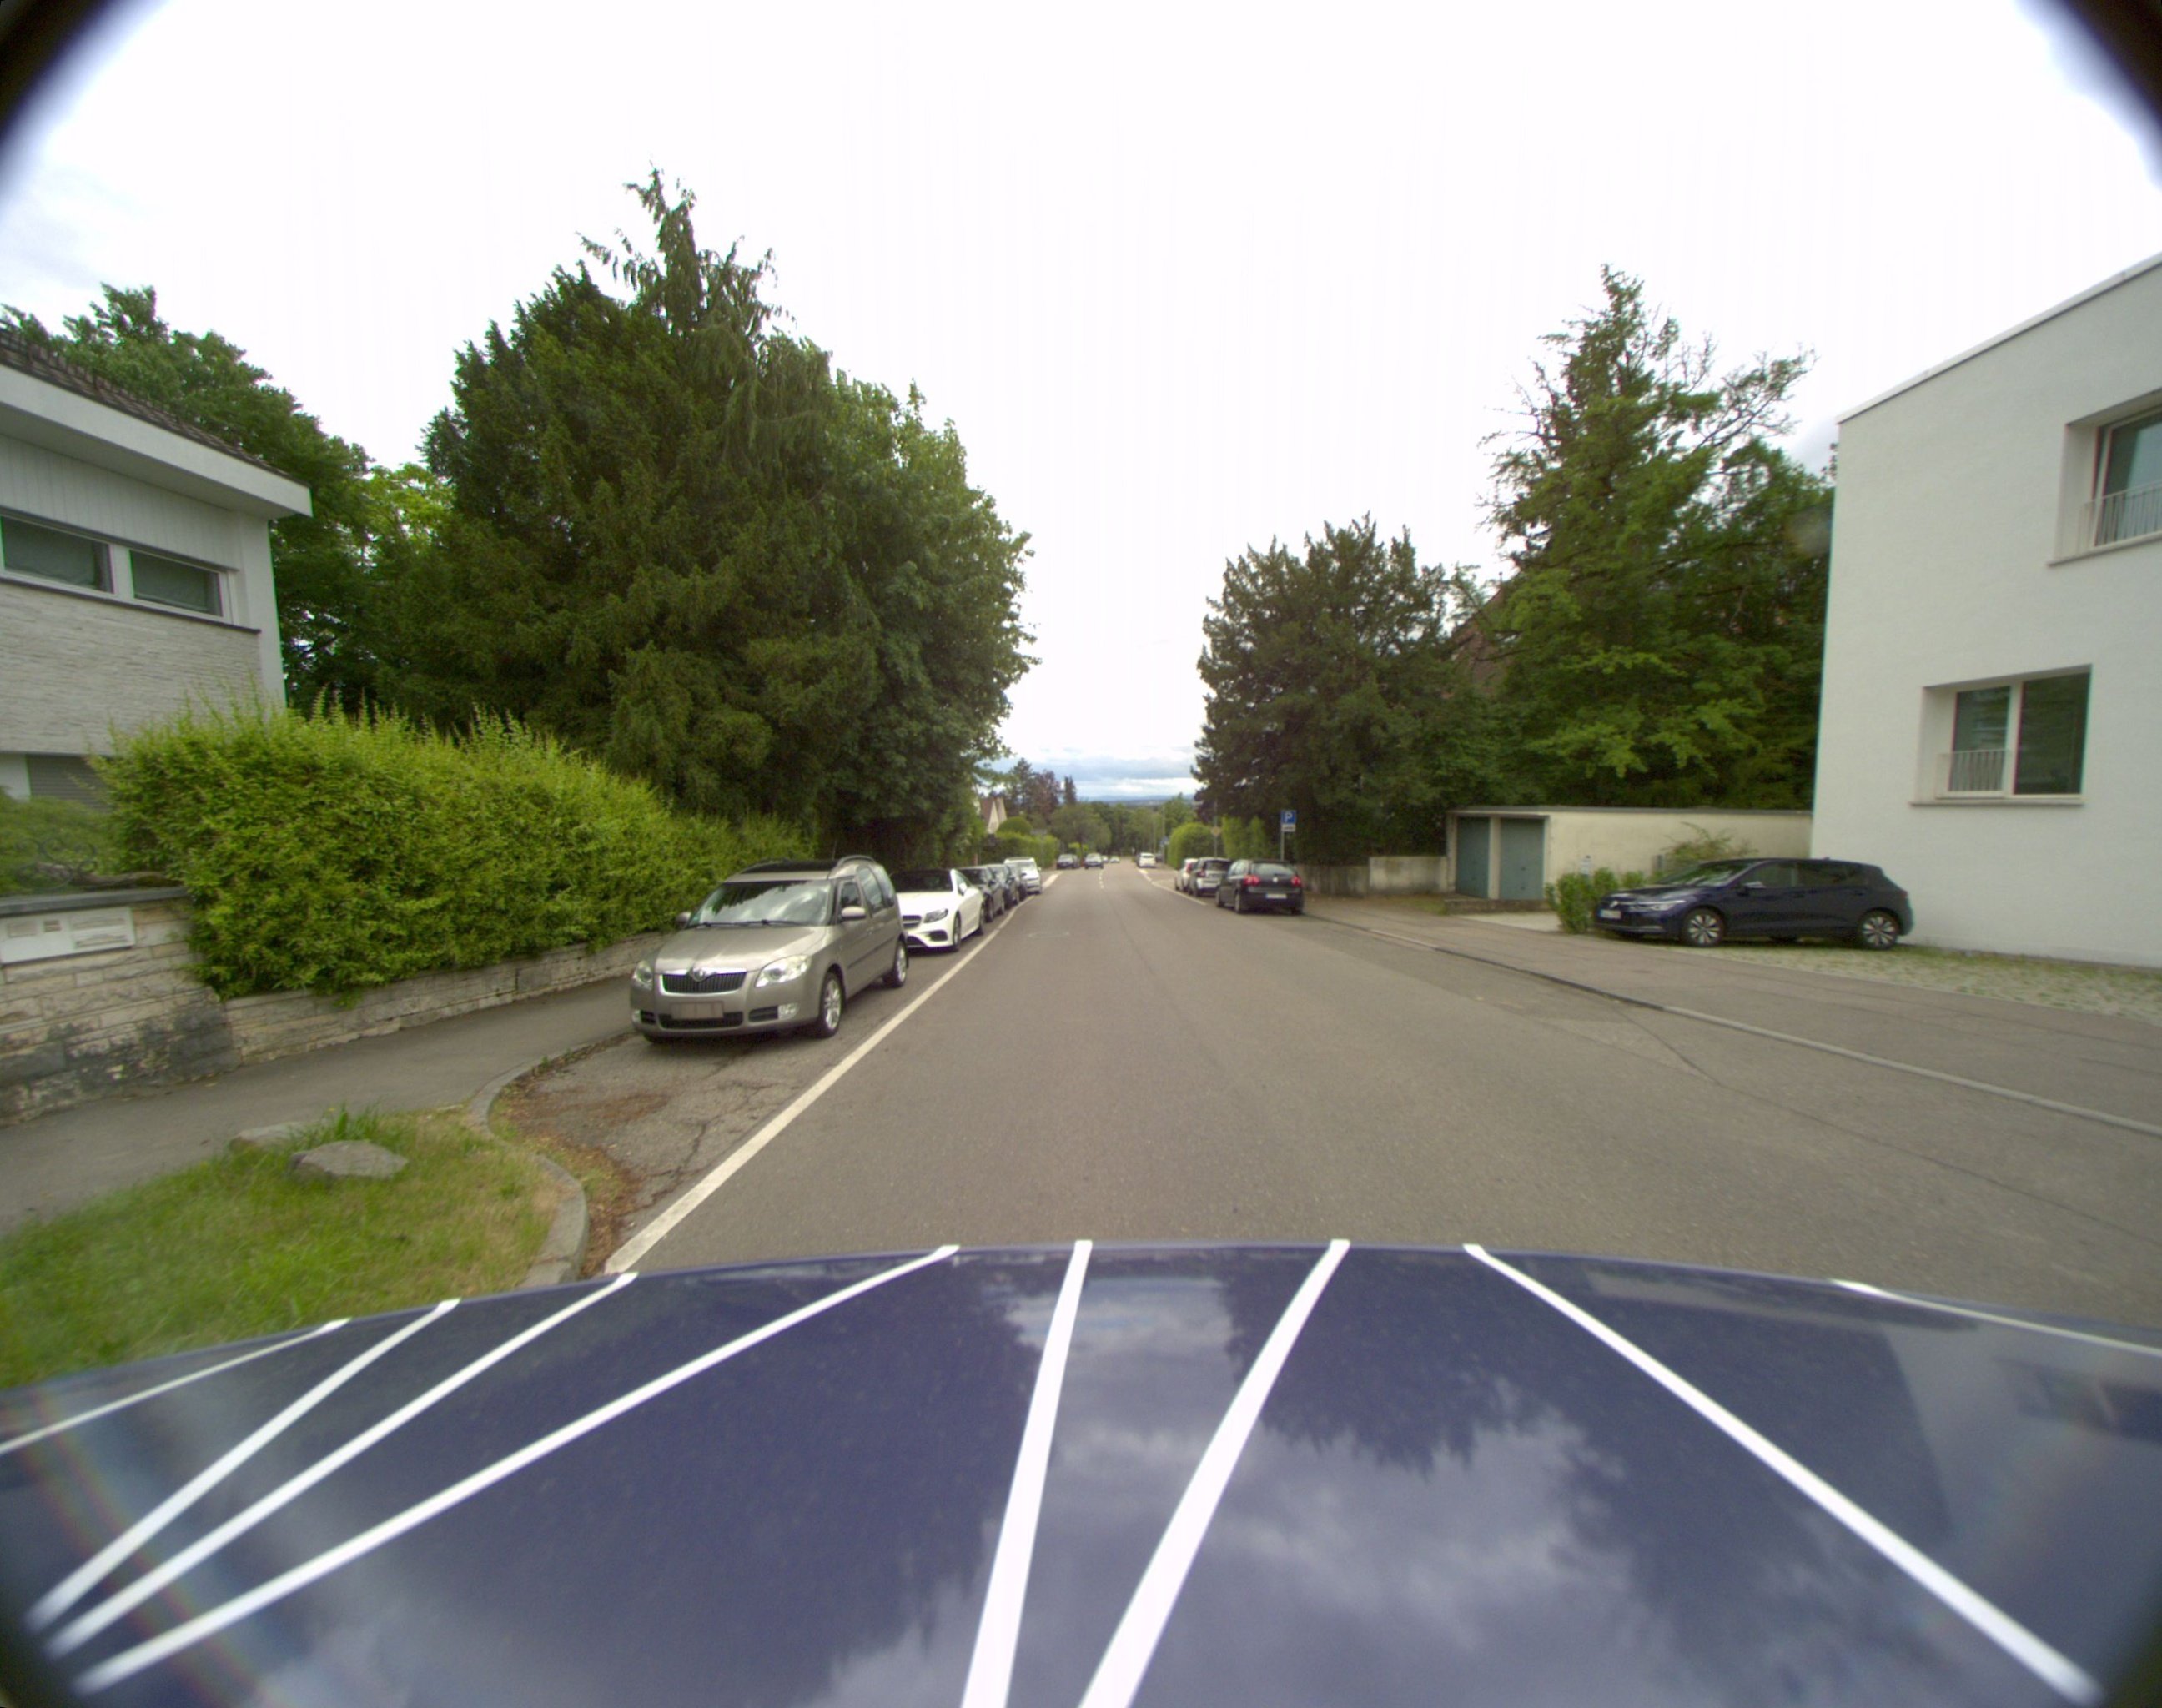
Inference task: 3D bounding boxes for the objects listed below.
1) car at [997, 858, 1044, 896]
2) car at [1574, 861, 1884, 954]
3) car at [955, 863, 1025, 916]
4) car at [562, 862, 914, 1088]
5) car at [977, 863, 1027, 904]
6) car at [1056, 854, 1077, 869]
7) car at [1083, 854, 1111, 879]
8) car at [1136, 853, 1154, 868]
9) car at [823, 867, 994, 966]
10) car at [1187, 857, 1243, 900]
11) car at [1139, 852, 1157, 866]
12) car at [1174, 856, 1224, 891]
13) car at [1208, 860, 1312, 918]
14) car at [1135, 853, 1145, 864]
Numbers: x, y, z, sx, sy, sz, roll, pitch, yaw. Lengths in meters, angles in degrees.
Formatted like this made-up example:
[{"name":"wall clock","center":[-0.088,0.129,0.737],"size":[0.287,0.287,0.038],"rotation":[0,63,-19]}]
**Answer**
[{"name":"car","center":[-2.740,0.982,34.871],"size":[2.006,1.599,4.756],"rotation":[0,0,-4]},{"name":"car","center":[10.616,0.826,12.612],"size":[3.805,1.346,1.741],"rotation":[-1,0,-5]},{"name":"car","center":[-2.933,1.109,25.223],"size":[1.702,1.499,4.160],"rotation":[-3,0,1]},{"name":"car","center":[-3.072,0.952,7.813],"size":[1.721,1.623,3.928],"rotation":[-2,0,1]},{"name":"car","center":[-3.059,1.125,30.199],"size":[1.815,1.444,4.376],"rotation":[0,0,-4]},{"name":"car","center":[-1.421,0.725,77.539],"size":[1.794,1.480,4.380],"rotation":[0,0,4]},{"name":"car","center":[1.642,1.199,74.911],"size":[1.998,2.002,4.001],"rotation":[-11,1,8]},{"name":"car","center":[7.022,0.673,83.574],"size":[1.786,1.481,4.740],"rotation":[3,1,4]},{"name":"car","center":[-3.005,1.031,14.442],"size":[1.998,1.483,5.005],"rotation":[0,0,1]},{"name":"car","center":[5.190,0.918,29.790],"size":[1.628,1.510,2.975],"rotation":[-1,1,0]},{"name":"car","center":[6.901,0.524,78.398],"size":[1.693,1.411,3.580],"rotation":[2,0,4]},{"name":"car","center":[5.191,0.853,33.760],"size":[1.749,1.439,3.514],"rotation":[1,0,2]},{"name":"car","center":[5.014,0.922,21.944],"size":[1.855,1.461,4.682],"rotation":[0,0,-1]},{"name":"car","center":[11.978,0.906,154.496],"size":[1.998,2.002,4.001],"rotation":[-3,0,3]}]
